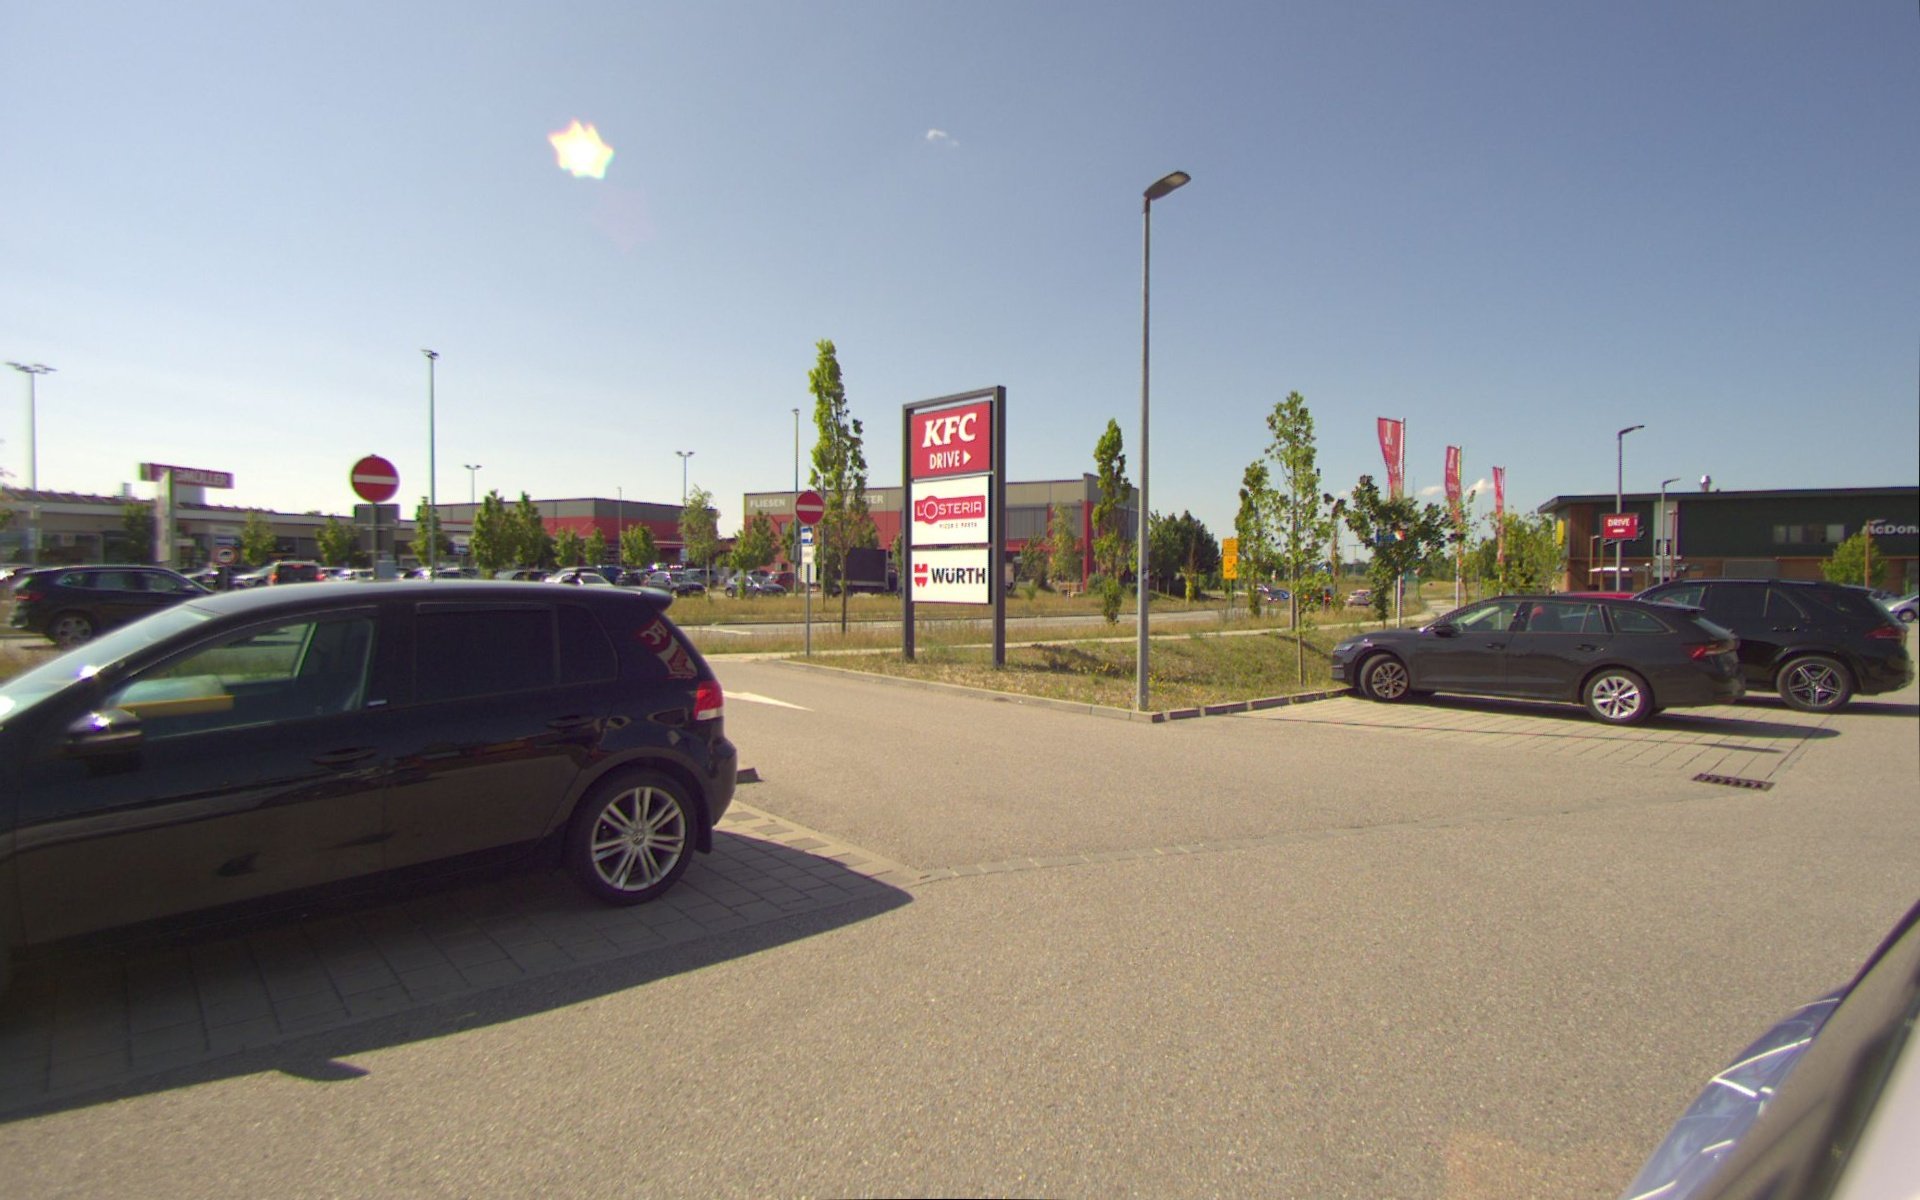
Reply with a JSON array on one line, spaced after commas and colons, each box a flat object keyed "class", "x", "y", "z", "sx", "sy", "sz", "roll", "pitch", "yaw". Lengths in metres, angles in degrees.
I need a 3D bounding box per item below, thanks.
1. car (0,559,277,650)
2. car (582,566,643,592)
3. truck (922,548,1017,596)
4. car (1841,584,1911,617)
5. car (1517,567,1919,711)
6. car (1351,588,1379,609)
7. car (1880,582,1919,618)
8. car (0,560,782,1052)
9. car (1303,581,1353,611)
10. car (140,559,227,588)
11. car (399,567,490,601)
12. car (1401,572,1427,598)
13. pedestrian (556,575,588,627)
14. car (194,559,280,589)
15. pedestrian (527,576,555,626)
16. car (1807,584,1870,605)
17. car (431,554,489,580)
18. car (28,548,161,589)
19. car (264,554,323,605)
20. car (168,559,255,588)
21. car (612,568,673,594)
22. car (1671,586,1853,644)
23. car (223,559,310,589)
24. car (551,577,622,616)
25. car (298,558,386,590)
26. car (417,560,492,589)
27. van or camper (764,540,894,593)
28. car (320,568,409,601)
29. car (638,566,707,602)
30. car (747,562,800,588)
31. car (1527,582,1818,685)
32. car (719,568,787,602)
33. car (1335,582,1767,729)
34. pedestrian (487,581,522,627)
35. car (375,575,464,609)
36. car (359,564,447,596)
[{"class": "car", "x": -17.069, "y": 0.069, "z": 21.028, "sx": 4.528, "sy": 1.685, "sz": 1.874, "roll": 0, "pitch": 1, "yaw": -45}, {"class": "car", "x": -26.057, "y": -1.589, "z": 76.020, "sx": 1.935, "sy": 1.879, "sz": 4.367, "roll": 1, "pitch": 0, "yaw": 25}, {"class": "truck", "x": 0.698, "y": -2.087, "z": 76.276, "sx": 6.776, "sy": 3.524, "sz": 2.738, "roll": 1, "pitch": 0, "yaw": 31}, {"class": "car", "x": 49.236, "y": 0.026, "z": 54.376, "sx": 4.127, "sy": 1.675, "sz": 1.975, "roll": 0, "pitch": 0, "yaw": -35}, {"class": "car", "x": 10.918, "y": 0.472, "z": 14.778, "sx": 4.573, "sy": 1.783, "sz": 1.866, "roll": 0, "pitch": 0, "yaw": 43}, {"class": "car", "x": 36.235, "y": -0.143, "z": 90.455, "sx": 2.008, "sy": 1.739, "sz": 4.264, "roll": 1, "pitch": 0, "yaw": 25}, {"class": "car", "x": 48.396, "y": -0.014, "z": 49.527, "sx": 4.633, "sy": 1.770, "sz": 1.818, "roll": 1, "pitch": 1, "yaw": 25}, {"class": "car", "x": -2.992, "y": 0.609, "z": 4.376, "sx": 4.052, "sy": 1.495, "sz": 1.838, "roll": 0, "pitch": 3, "yaw": -44}, {"class": "car", "x": 22.090, "y": -0.240, "z": 60.648, "sx": 1.984, "sy": 1.754, "sz": 4.706, "roll": 1, "pitch": 1, "yaw": 31}, {"class": "car", "x": -53.146, "y": -1.795, "z": 69.350, "sx": 1.933, "sy": 1.879, "sz": 4.371, "roll": 1, "pitch": 0, "yaw": 22}, {"class": "car", "x": -29.330, "y": -0.910, "z": 57.727, "sx": 1.935, "sy": 1.879, "sz": 4.367, "roll": 1, "pitch": 0, "yaw": 25}, {"class": "car", "x": 40.649, "y": -1.328, "z": 90.593, "sx": 1.980, "sy": 2.224, "sz": 5.061, "roll": 1, "pitch": 0, "yaw": 26}, {"class": "pedestrian", "x": -12.352, "y": 0.023, "z": 32.220, "sx": 0.743, "sy": 1.620, "sz": 0.692, "roll": 1, "pitch": 0, "yaw": -39}, {"class": "car", "x": -48.069, "y": -1.724, "z": 67.378, "sx": 1.933, "sy": 1.879, "sz": 4.371, "roll": 1, "pitch": 0, "yaw": 22}, {"class": "pedestrian", "x": -13.247, "y": 0.025, "z": 31.964, "sx": 0.655, "sy": 1.575, "sz": 0.625, "roll": 1, "pitch": 0, "yaw": -39}, {"class": "car", "x": 62.725, "y": -0.378, "z": 72.231, "sx": 4.377, "sy": 1.484, "sz": 1.965, "roll": 0, "pitch": 0, "yaw": -28}, {"class": "car", "x": -41.416, "y": -2.746, "z": 83.913, "sx": 1.981, "sy": 2.039, "sz": 3.961, "roll": 1, "pitch": 0, "yaw": 28}, {"class": "car", "x": -41.760, "y": -1.477, "z": 48.969, "sx": 1.935, "sy": 1.879, "sz": 4.534, "roll": 1, "pitch": 0, "yaw": 25}, {"class": "car", "x": -27.334, "y": -0.819, "z": 41.641, "sx": 1.841, "sy": 1.979, "sz": 4.898, "roll": 0, "pitch": 0, "yaw": -31}, {"class": "car", "x": -50.579, "y": -1.761, "z": 68.502, "sx": 1.933, "sy": 1.879, "sz": 4.371, "roll": 1, "pitch": 0, "yaw": 22}, {"class": "car", "x": -23.390, "y": -1.368, "z": 74.749, "sx": 1.935, "sy": 1.879, "sz": 4.367, "roll": 1, "pitch": 0, "yaw": 25}, {"class": "car", "x": 24.293, "y": 0.409, "z": 30.842, "sx": 4.208, "sy": 1.658, "sz": 1.924, "roll": 0, "pitch": 0, "yaw": 38}, {"class": "car", "x": -45.400, "y": -1.687, "z": 66.356, "sx": 1.933, "sy": 1.879, "sz": 4.371, "roll": 1, "pitch": 0, "yaw": 22}, {"class": "car", "x": -18.787, "y": -0.189, "z": 50.865, "sx": 1.965, "sy": 1.879, "sz": 4.279, "roll": 0, "pitch": 1, "yaw": -41}, {"class": "car", "x": -38.504, "y": -1.586, "z": 63.199, "sx": 1.935, "sy": 1.879, "sz": 4.367, "roll": 1, "pitch": 0, "yaw": 25}, {"class": "car", "x": -34.489, "y": -1.704, "z": 69.206, "sx": 1.935, "sy": 1.879, "sz": 4.367, "roll": 1, "pitch": 0, "yaw": 25}, {"class": "van or camper", "x": -8.275, "y": -2.071, "z": 64.527, "sx": 7.896, "sy": 3.141, "sz": 2.421, "roll": 0, "pitch": 0, "yaw": -32}, {"class": "car", "x": -36.245, "y": -0.932, "z": 61.738, "sx": 1.935, "sy": 1.879, "sz": 4.367, "roll": 1, "pitch": 0, "yaw": 25}, {"class": "car", "x": -15.529, "y": -0.854, "z": 54.580, "sx": 1.922, "sy": 1.879, "sz": 4.397, "roll": 0, "pitch": 1, "yaw": -41}, {"class": "car", "x": -14.085, "y": -1.853, "z": 76.535, "sx": 1.850, "sy": 1.879, "sz": 4.231, "roll": 1, "pitch": 0, "yaw": 25}, {"class": "car", "x": 12.539, "y": 0.528, "z": 17.963, "sx": 4.062, "sy": 1.629, "sz": 1.868, "roll": 0, "pitch": 0, "yaw": 40}, {"class": "car", "x": -11.972, "y": -0.856, "z": 58.365, "sx": 1.922, "sy": 1.879, "sz": 4.397, "roll": 0, "pitch": 1, "yaw": -41}, {"class": "car", "x": 7.297, "y": 0.554, "z": 12.810, "sx": 4.440, "sy": 1.505, "sz": 1.848, "roll": 2, "pitch": 1, "yaw": 43}, {"class": "pedestrian", "x": -14.356, "y": 0.118, "z": 31.872, "sx": 0.861, "sy": 1.415, "sz": 0.715, "roll": -1, "pitch": 0, "yaw": 43}, {"class": "car", "x": -31.485, "y": -0.469, "z": 59.080, "sx": 1.935, "sy": 1.879, "sz": 4.367, "roll": 1, "pitch": 0, "yaw": 25}, {"class": "car", "x": -33.472, "y": -1.188, "z": 60.975, "sx": 1.935, "sy": 1.879, "sz": 4.367, "roll": 1, "pitch": 0, "yaw": 25}]
